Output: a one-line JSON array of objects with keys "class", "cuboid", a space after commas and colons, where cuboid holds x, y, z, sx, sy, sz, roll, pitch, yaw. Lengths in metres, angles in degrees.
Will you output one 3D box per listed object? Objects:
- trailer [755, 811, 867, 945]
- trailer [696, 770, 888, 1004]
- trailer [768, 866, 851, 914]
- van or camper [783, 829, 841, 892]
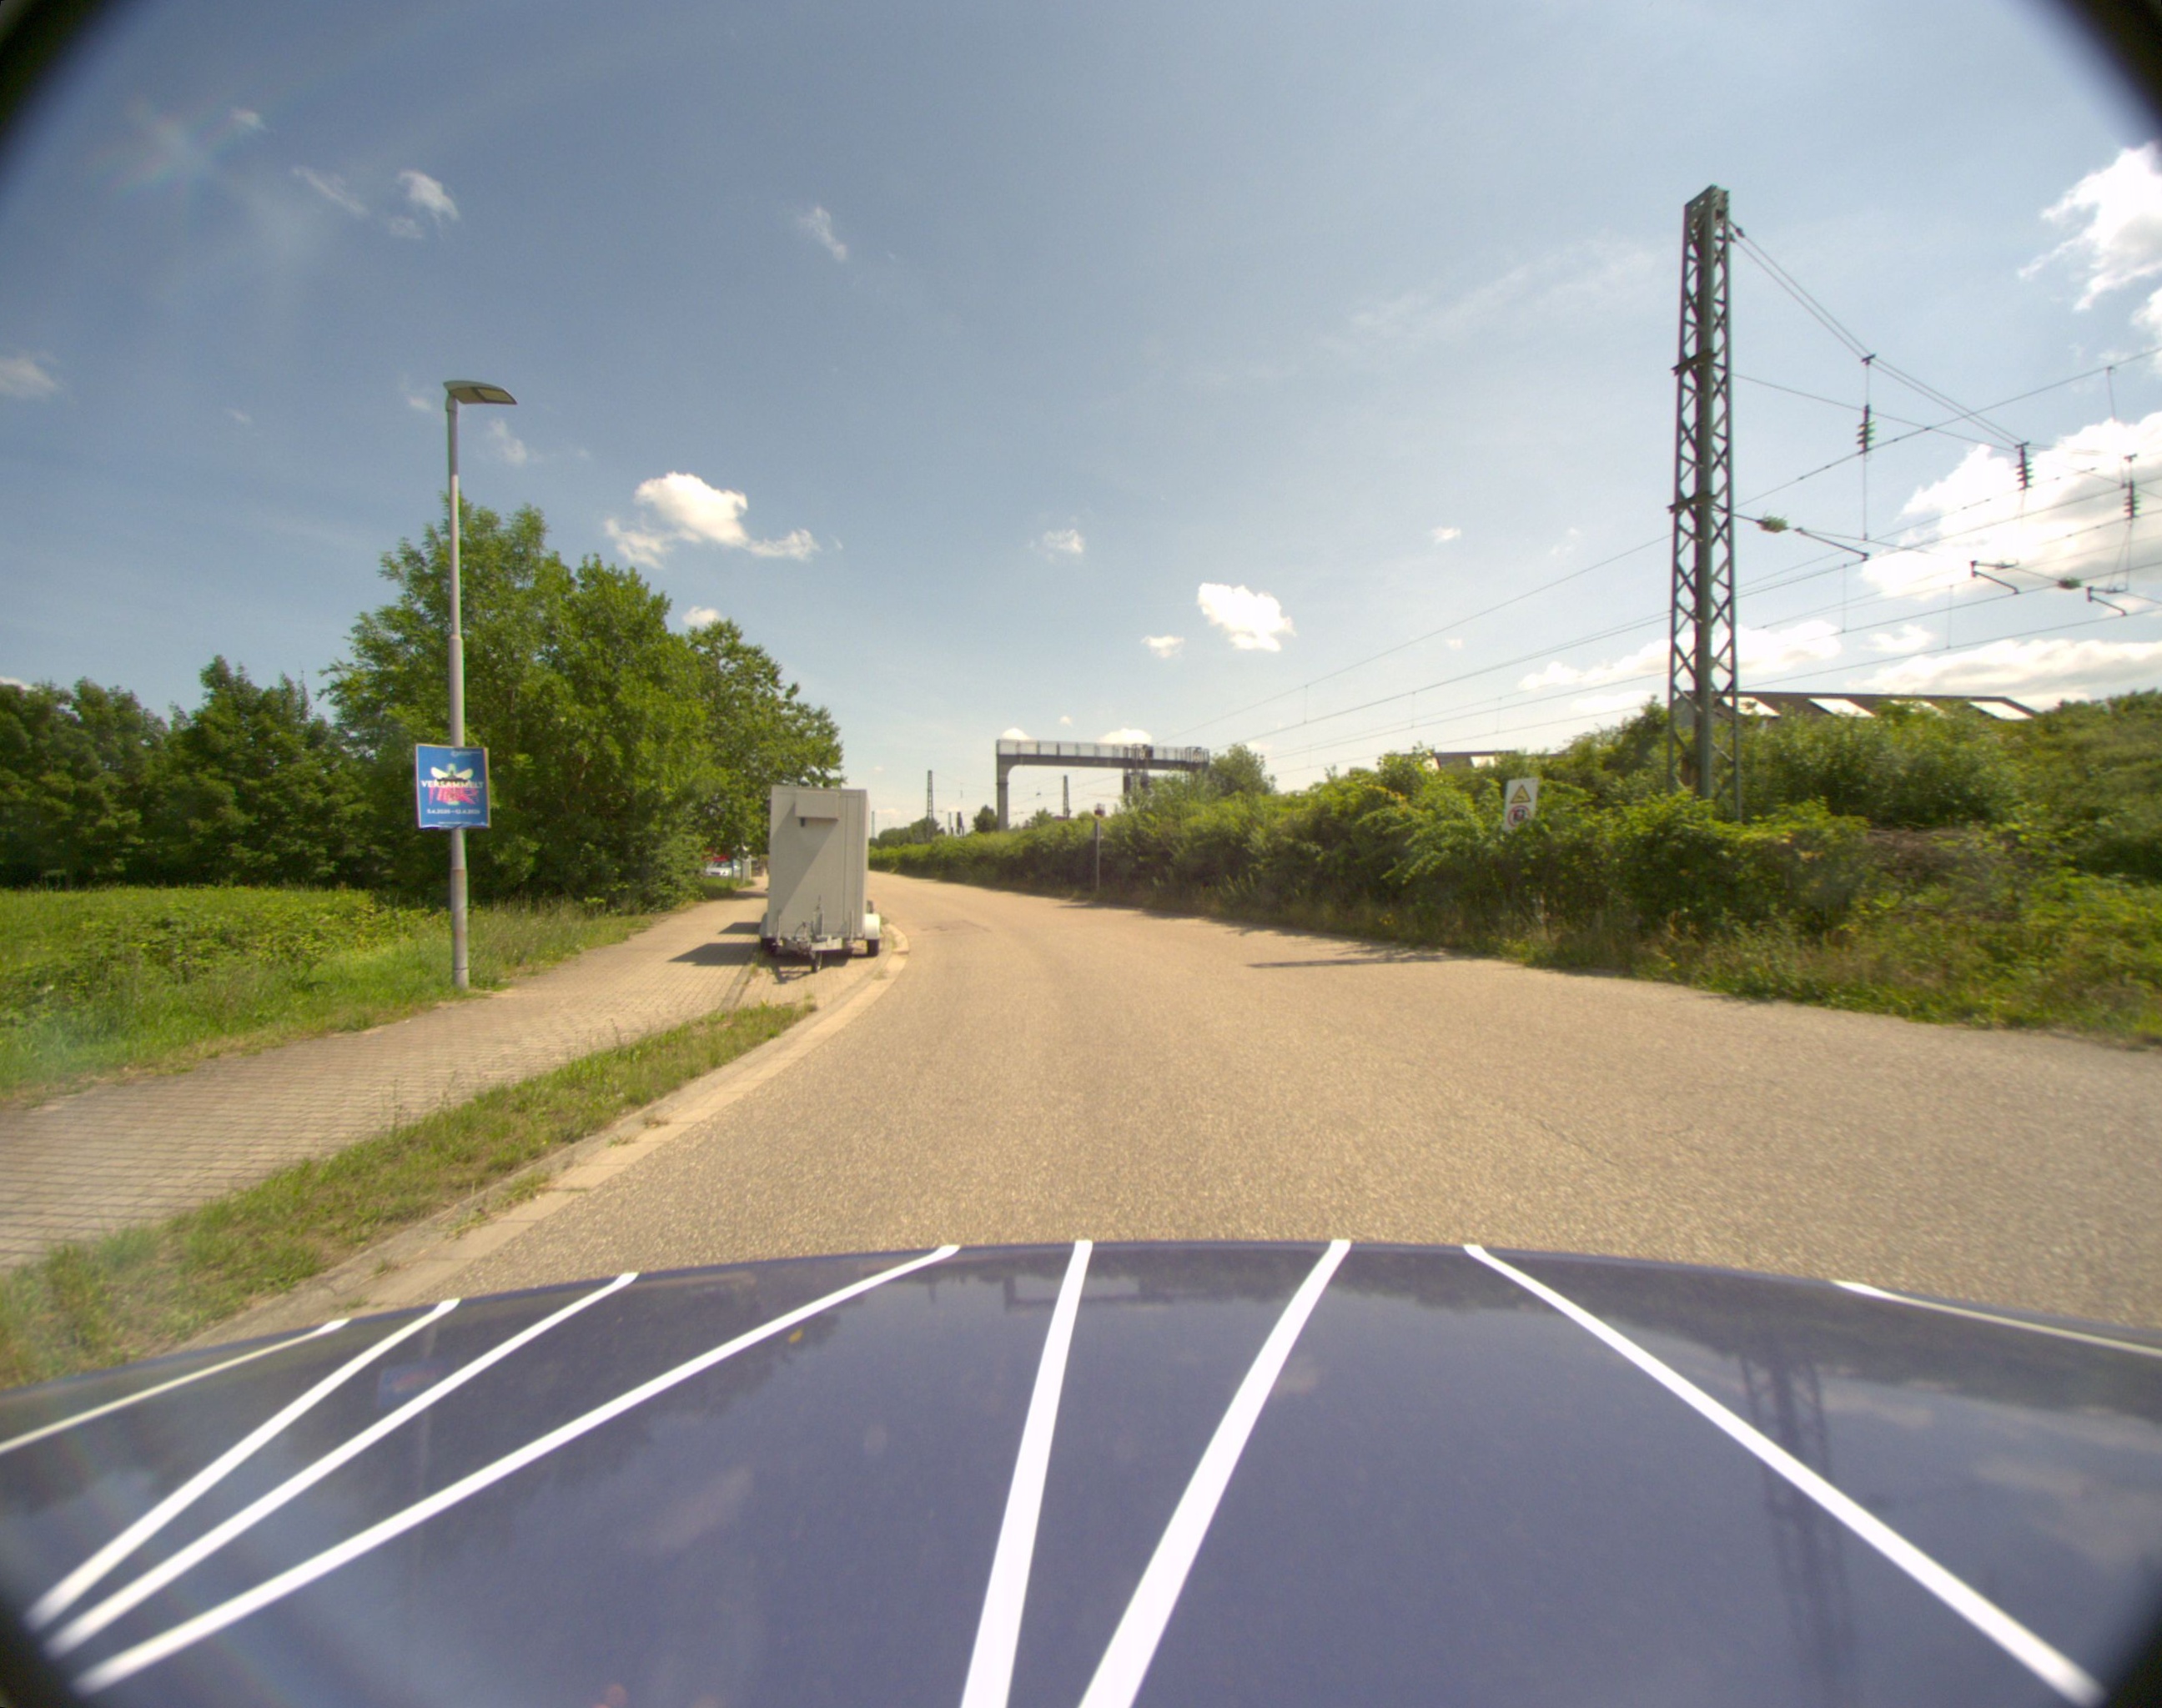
[{"class": "trailer", "cuboid": [-5.884, 0.489, 16.725, 1.927, 2.493, 4.733, 2, -1, -19]}, {"class": "trailer", "cuboid": [-3.948, 0.423, 11.296, 1.940, 2.628, 5.177, 2, -1, -13]}, {"class": "trailer", "cuboid": [-7.821, 1.002, 22.263, 2.013, 1.116, 4.482, 2, 0, -17]}, {"class": "van or camper", "cuboid": [-13.525, 0.322, 38.281, 2.449, 2.810, 7.610, 1, 0, -19]}]
